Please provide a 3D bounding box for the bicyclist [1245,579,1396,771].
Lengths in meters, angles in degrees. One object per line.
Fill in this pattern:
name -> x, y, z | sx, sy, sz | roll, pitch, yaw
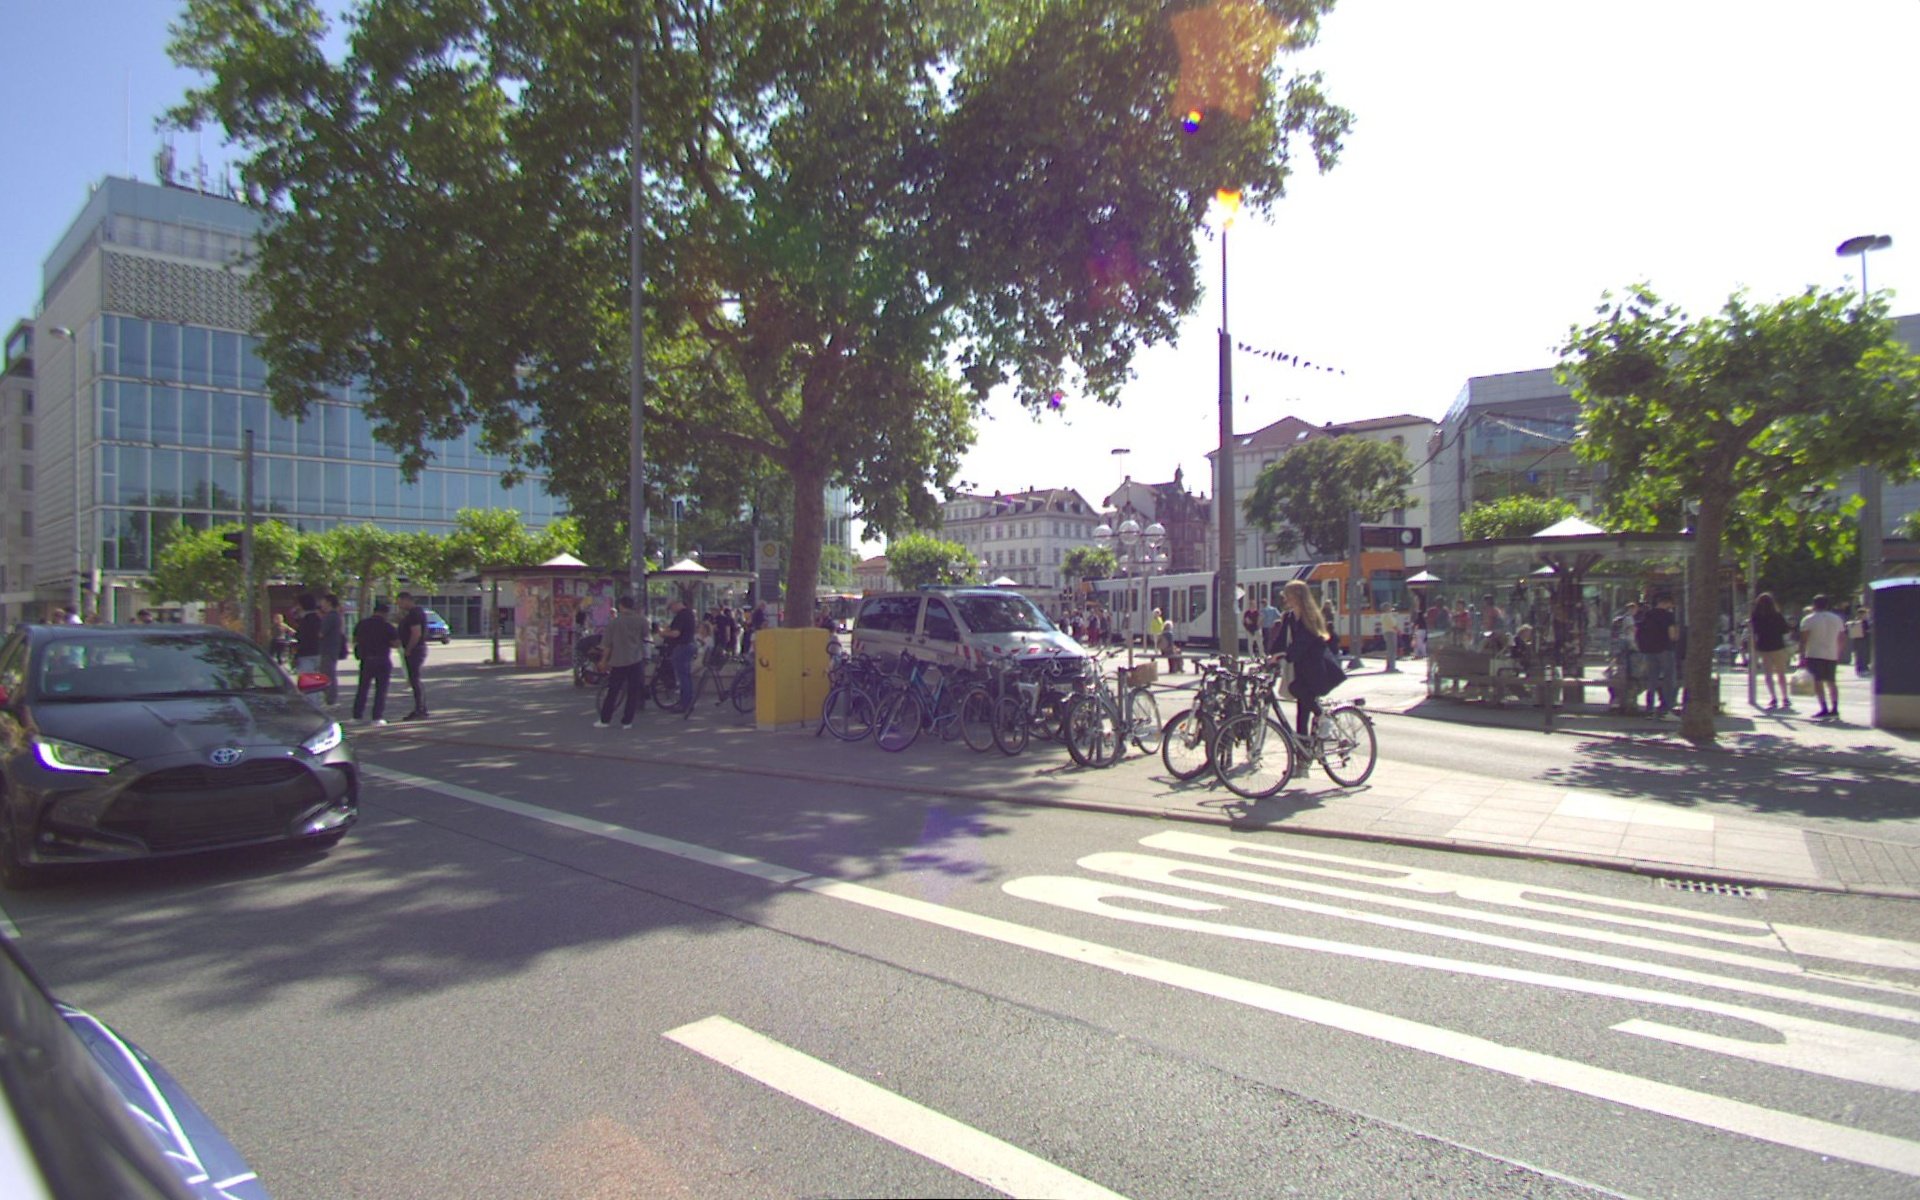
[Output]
bicyclist -> 3.112, 0.592, 8.703 | 0.831, 1.509, 1.145 | -2, 0, 41

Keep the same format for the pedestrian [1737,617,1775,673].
pedestrian -> 21.631, 1.232, 27.504 | 0.616, 1.477, 0.681 | 4, -5, -44

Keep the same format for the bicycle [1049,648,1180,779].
bicycle -> 1.614, 1.104, 10.363 | 0.482, 1.156, 1.843 | -2, -1, 38

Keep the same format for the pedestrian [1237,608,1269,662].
pedestrian -> 8.525, 1.021, 29.434 | 0.669, 1.561, 0.580 | 1, -4, -16

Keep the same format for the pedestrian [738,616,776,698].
pedestrian -> -3.804, 1.044, 18.951 | 0.570, 1.472, 0.788 | -2, 0, -17

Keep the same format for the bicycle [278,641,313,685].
bicycle -> -19.067, 1.794, 29.030 | 0.718, 1.152, 1.917 | -2, 0, -36

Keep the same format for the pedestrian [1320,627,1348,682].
pedestrian -> 8.404, 1.218, 22.736 | 0.524, 1.211, 0.540 | -2, -4, 28

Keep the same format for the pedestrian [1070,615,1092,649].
pedestrian -> 5.312, 1.410, 44.521 | 0.547, 1.483, 0.758 | -2, 0, -43

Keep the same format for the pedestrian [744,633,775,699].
pedestrian -> -3.722, 1.213, 18.754 | 0.499, 1.182, 0.350 | -2, 0, -17

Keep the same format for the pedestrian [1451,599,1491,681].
pedestrian -> 11.274, 0.891, 22.337 | 0.578, 1.791, 0.671 | -3, -5, 43

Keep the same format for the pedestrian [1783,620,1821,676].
pedestrian -> 22.527, 1.298, 27.067 | 0.616, 1.477, 0.681 | 4, -5, -44

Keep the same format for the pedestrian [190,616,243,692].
pedestrian -> -18.001, 1.298, 24.503 | 0.881, 1.760, 0.715 | -2, 0, 30

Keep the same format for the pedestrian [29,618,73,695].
pedestrian -> -21.423, 1.319, 23.849 | 0.732, 1.760, 0.631 | -2, 0, 38

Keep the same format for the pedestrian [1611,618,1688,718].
pedestrian -> 10.487, 1.029, 15.405 | 0.670, 1.477, 0.625 | 1, -4, -4

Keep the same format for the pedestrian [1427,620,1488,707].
pedestrian -> 8.588, 1.095, 17.484 | 0.614, 1.477, 0.682 | 2, -4, -29

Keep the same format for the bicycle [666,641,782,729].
bicycle -> -3.419, 1.204, 14.786 | 0.482, 1.156, 1.736 | -2, -1, 38

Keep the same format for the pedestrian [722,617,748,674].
pedestrian -> -6.126, 1.232, 27.592 | 0.484, 1.537, 0.456 | -2, 0, -43

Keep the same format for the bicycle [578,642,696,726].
bicycle -> -4.854, 1.235, 15.310 | 0.482, 1.156, 1.736 | -2, -1, 38

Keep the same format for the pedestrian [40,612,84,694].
pedestrian -> -21.834, 1.268, 24.611 | 0.859, 1.934, 0.631 | -2, 0, 38

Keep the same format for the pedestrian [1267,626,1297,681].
pedestrian -> 7.462, 1.238, 23.454 | 0.551, 1.243, 0.573 | -2, -4, 28

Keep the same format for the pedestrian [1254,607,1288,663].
pedestrian -> 8.827, 1.006, 28.722 | 0.669, 1.561, 0.580 | 2, -4, -29

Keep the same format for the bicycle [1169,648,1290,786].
bicycle -> 2.641, 1.076, 9.788 | 0.482, 1.156, 1.736 | -2, -1, 38

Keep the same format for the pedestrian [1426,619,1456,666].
pedestrian -> 16.185, 1.435, 34.081 | 0.568, 1.561, 0.683 | 2, -4, -24

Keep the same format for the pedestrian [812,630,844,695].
pedestrian -> -2.553, 1.204, 19.566 | 0.493, 1.215, 0.461 | -2, 0, -17

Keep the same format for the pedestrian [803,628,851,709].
pedestrian -> -3.008, 1.531, 22.897 | 0.779, 1.760, 0.662 | -2, 0, 30

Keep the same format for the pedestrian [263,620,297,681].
pedestrian -> -19.391, 1.432, 28.851 | 0.721, 1.682, 0.641 | -2, 0, -37

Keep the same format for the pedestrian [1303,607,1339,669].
pedestrian -> 9.169, 0.979, 25.714 | 0.657, 1.561, 0.566 | -3, -5, 42

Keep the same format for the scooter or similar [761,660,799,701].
scooter or similar -> -3.266, 1.452, 18.347 | 0.570, 0.652, 0.788 | -2, 0, -17

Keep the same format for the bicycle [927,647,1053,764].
bicycle -> 0.369, 1.136, 11.390 | 0.482, 1.156, 1.736 | -2, -1, 38

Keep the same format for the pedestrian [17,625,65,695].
pedestrian -> -23.816, 1.542, 26.247 | 0.721, 1.760, 0.642 | -2, 0, -26

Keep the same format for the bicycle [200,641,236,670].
bicycle -> -30.493, 2.275, 41.583 | 1.753, 1.156, 0.586 | -1, -1, 33

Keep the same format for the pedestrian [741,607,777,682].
pedestrian -> -4.820, 1.062, 24.271 | 0.611, 1.760, 0.532 | -2, 0, 30

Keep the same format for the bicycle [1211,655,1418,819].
bicycle -> 3.145, 1.082, 8.762 | 0.831, 1.030, 2.592 | -2, 0, 40

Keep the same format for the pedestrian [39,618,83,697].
pedestrian -> -20.851, 1.323, 23.472 | 0.605, 1.760, 0.631 | -2, 0, 38

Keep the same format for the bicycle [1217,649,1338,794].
bicycle -> 2.983, 1.070, 9.412 | 0.482, 1.156, 1.736 | -2, -1, 38

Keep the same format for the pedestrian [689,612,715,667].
pedestrian -> -7.020, 1.069, 27.558 | 0.449, 1.483, 0.556 | -2, 0, -42

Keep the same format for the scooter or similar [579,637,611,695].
scooter or similar -> -7.472, 1.333, 20.706 | 0.559, 1.128, 0.540 | -2, 0, -23

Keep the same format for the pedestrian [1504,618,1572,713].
pedestrian -> 9.220, 1.047, 16.149 | 0.614, 1.477, 0.682 | 2, -4, -29

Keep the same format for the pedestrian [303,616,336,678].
pedestrian -> -18.597, 1.357, 29.392 | 0.721, 1.760, 0.641 | -2, 0, -37

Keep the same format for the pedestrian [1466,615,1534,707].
pedestrian -> 8.923, 1.010, 16.742 | 0.716, 1.477, 0.682 | 2, -4, -29

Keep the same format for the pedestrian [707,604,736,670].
pedestrian -> -6.377, 0.981, 27.057 | 0.547, 1.740, 0.492 | -2, 0, -43

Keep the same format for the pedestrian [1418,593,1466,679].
pedestrian -> 10.264, 0.779, 21.544 | 0.568, 1.791, 0.682 | 2, -4, -29

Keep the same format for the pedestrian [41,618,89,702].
pedestrian -> -19.491, 1.291, 22.040 | 0.732, 1.760, 0.631 | -2, 0, 38

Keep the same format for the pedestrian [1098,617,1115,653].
pedestrian -> 6.246, 1.490, 43.175 | 0.547, 1.483, 0.456 | -2, 0, -43

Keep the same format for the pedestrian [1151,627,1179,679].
pedestrian -> 5.110, 1.304, 25.219 | 0.483, 1.262, 0.491 | -2, 0, 38

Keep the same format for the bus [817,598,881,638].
bus -> -8.853, 1.338, 82.417 | 2.362, 2.811, 12.156 | -2, 0, 7

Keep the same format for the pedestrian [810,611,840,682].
pedestrian -> -3.242, 1.115, 24.356 | 0.470, 1.681, 0.498 | -2, 0, 30

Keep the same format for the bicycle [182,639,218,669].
bicycle -> -30.834, 2.184, 41.064 | 1.753, 1.156, 0.586 | -1, -1, 33

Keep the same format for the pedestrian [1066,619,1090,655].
pedestrian -> 4.947, 1.548, 42.407 | 0.547, 1.483, 0.758 | -2, 0, -43

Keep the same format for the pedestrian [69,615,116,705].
pedestrian -> -17.344, 1.186, 20.231 | 0.651, 1.726, 0.568 | -2, 0, 38

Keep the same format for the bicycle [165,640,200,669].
bicycle -> -31.156, 2.170, 40.547 | 1.753, 1.156, 0.586 | -1, -1, 33

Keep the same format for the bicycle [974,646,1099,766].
bicycle -> 0.877, 1.121, 11.147 | 0.482, 1.156, 1.736 | -2, -1, 38

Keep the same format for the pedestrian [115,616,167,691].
pedestrian -> -20.039, 1.298, 24.765 | 0.730, 1.760, 0.744 | -2, 0, 30

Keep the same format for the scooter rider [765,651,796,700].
scooter rider -> -3.276, 1.378, 18.478 | 0.499, 0.845, 0.350 | -2, 0, -17

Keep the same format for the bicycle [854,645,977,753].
bicycle -> -0.510, 1.158, 12.307 | 0.482, 1.156, 1.736 | -2, -1, 38

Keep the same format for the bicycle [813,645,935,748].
bicycle -> -1.054, 1.171, 12.744 | 0.482, 1.156, 1.736 | -2, -1, 38

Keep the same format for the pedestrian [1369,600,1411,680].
pedestrian -> 10.130, 0.949, 23.841 | 0.568, 1.855, 0.682 | 2, -4, -29

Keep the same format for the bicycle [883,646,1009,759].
bicycle -> -0.130, 1.149, 11.820 | 0.482, 1.156, 1.736 | -2, -1, 38
